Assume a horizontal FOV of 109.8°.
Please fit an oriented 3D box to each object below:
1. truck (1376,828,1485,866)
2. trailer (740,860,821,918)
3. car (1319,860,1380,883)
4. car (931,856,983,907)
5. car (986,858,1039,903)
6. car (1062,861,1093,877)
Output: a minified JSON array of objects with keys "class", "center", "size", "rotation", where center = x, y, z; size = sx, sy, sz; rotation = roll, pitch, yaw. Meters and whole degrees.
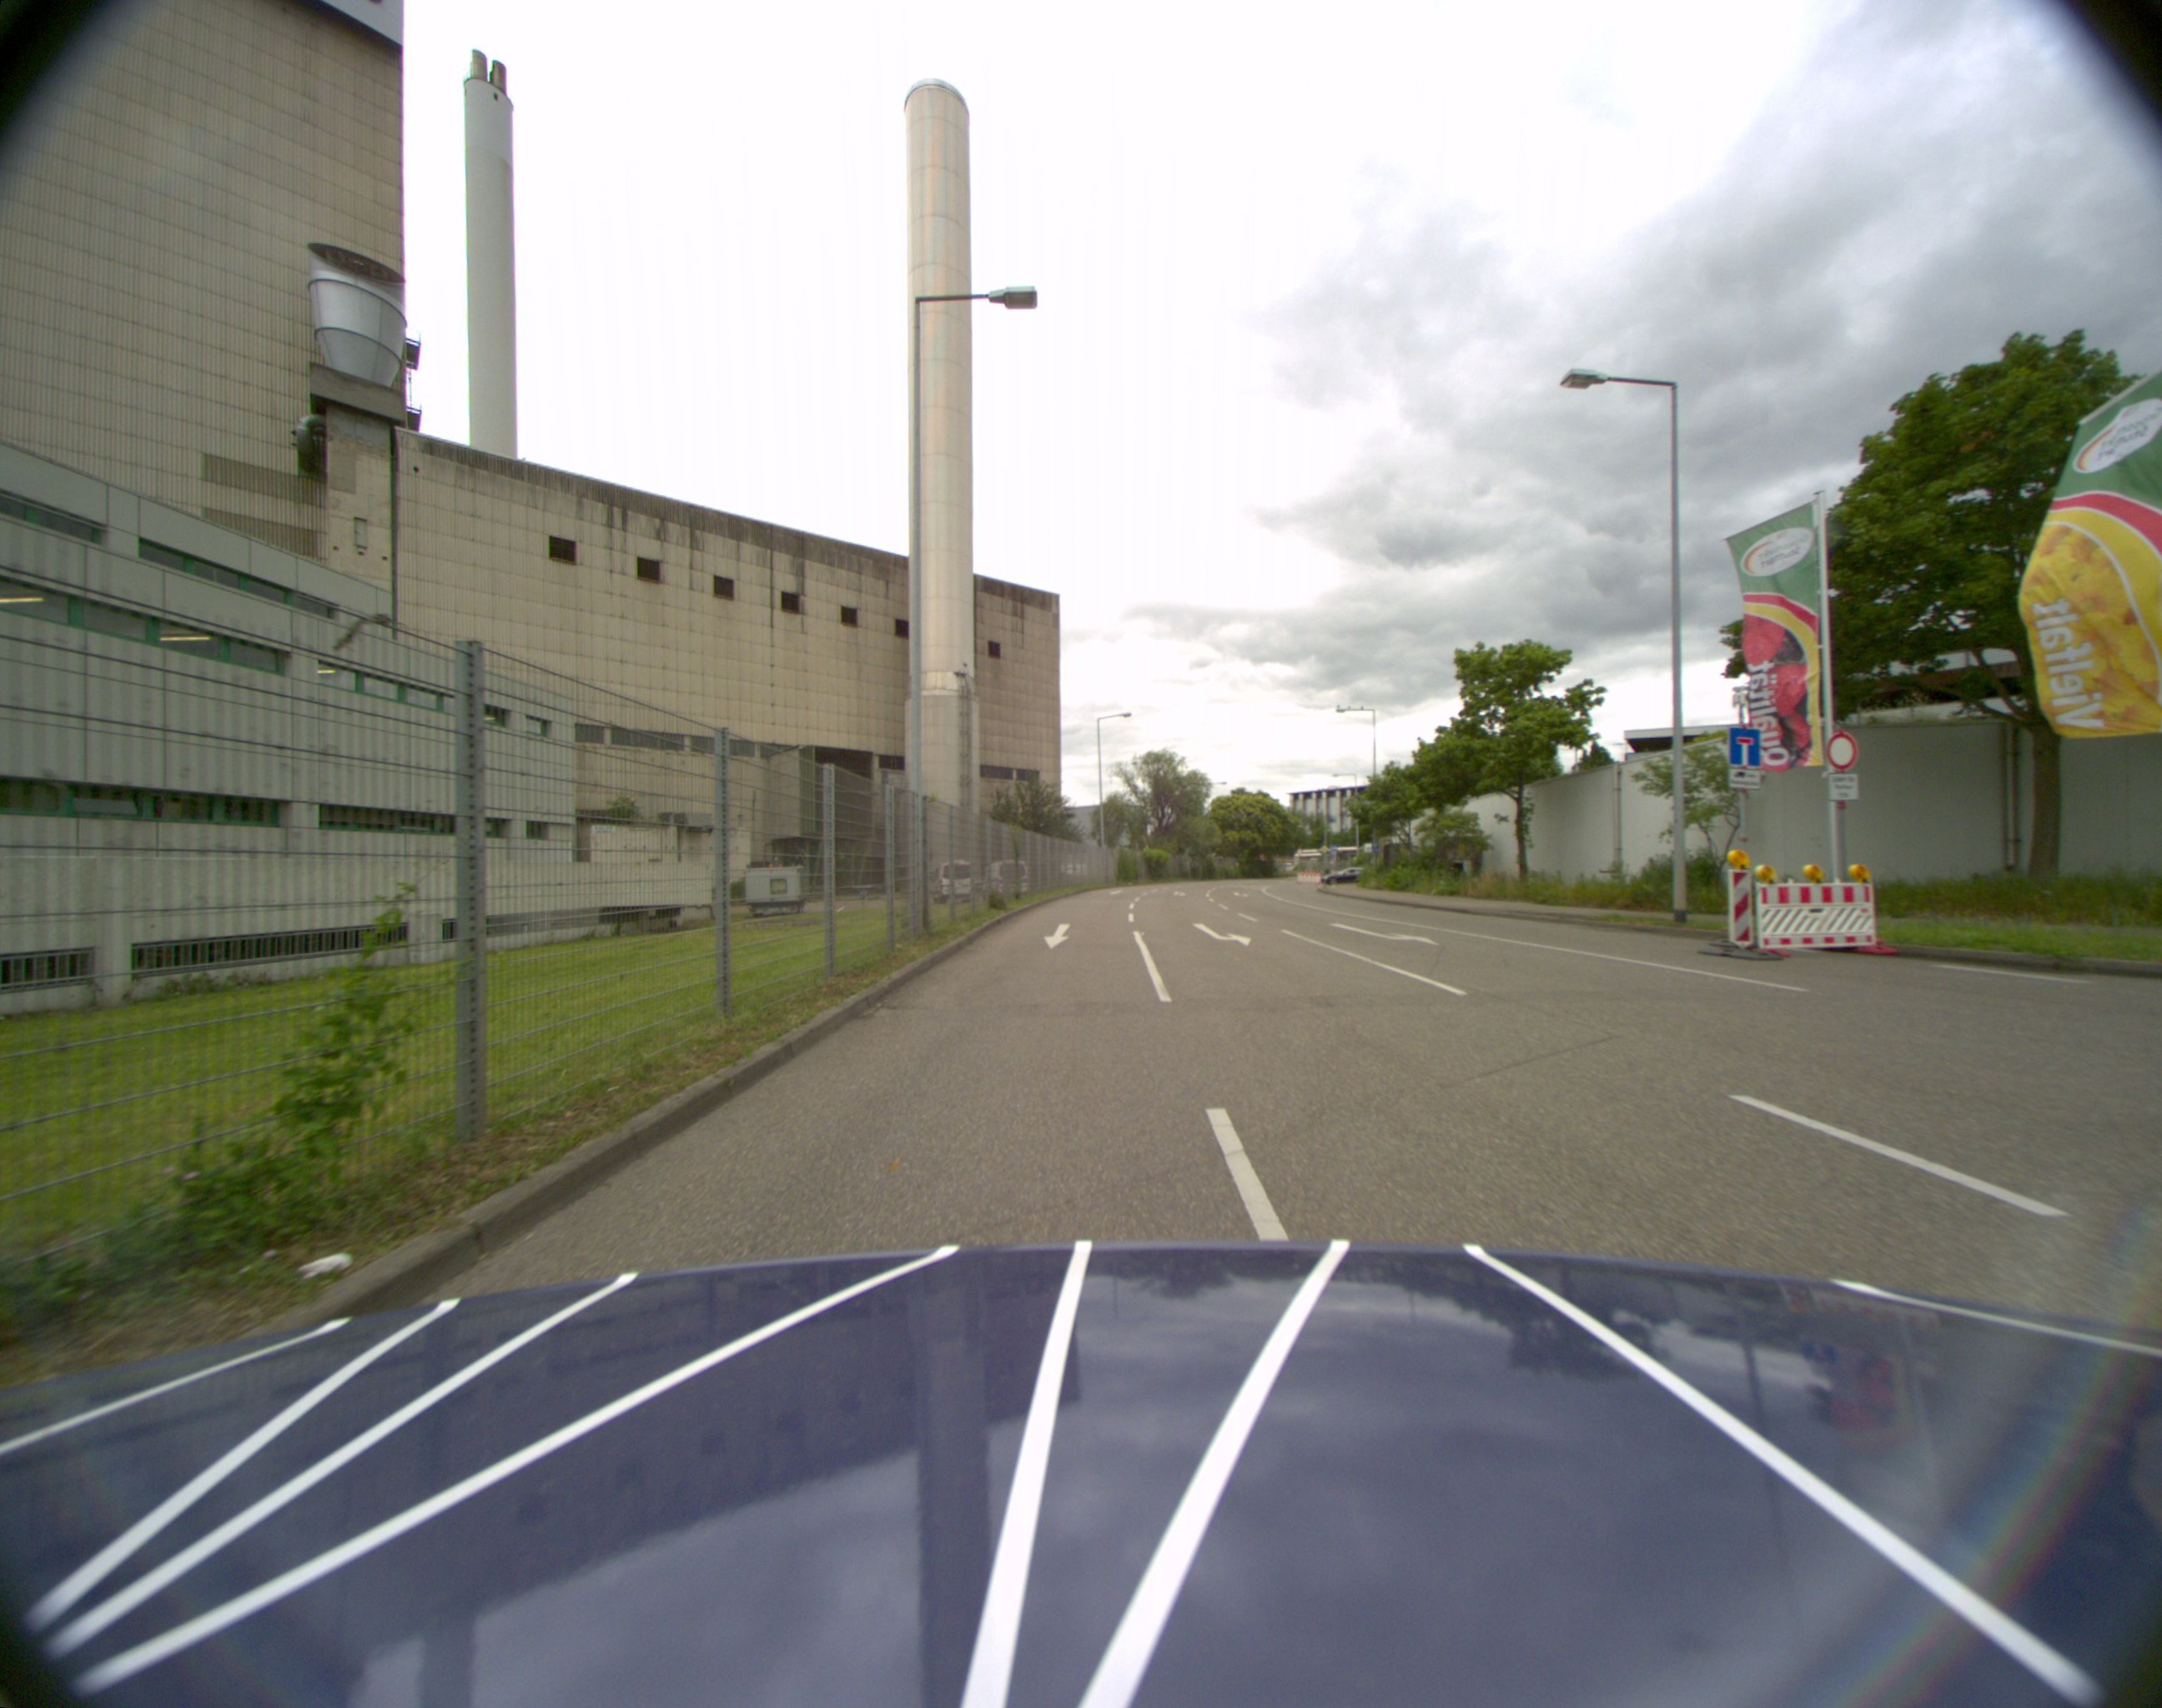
[{"class":"truck","center":[33.783,-0.651,73.808],"size":[9.261,3.574,2.935],"rotation":[0,0,14]},{"class":"trailer","center":[-14.644,1.632,37.483],"size":[2.665,2.528,6.427],"rotation":[-2,-1,-12]},{"class":"car","center":[22.471,1.465,63.739],"size":[4.614,1.799,2.002],"rotation":[-2,-1,13]},{"class":"car","center":[-7.468,1.680,45.230],"size":[2.429,2.745,5.450],"rotation":[-2,-3,-16]},{"class":"car","center":[-4.303,1.688,46.848],"size":[2.240,2.531,5.186],"rotation":[-2,-3,-16]},{"class":"car","center":[-0.462,2.252,116.047],"size":[1.995,2.353,5.851],"rotation":[-2,-1,30]}]
